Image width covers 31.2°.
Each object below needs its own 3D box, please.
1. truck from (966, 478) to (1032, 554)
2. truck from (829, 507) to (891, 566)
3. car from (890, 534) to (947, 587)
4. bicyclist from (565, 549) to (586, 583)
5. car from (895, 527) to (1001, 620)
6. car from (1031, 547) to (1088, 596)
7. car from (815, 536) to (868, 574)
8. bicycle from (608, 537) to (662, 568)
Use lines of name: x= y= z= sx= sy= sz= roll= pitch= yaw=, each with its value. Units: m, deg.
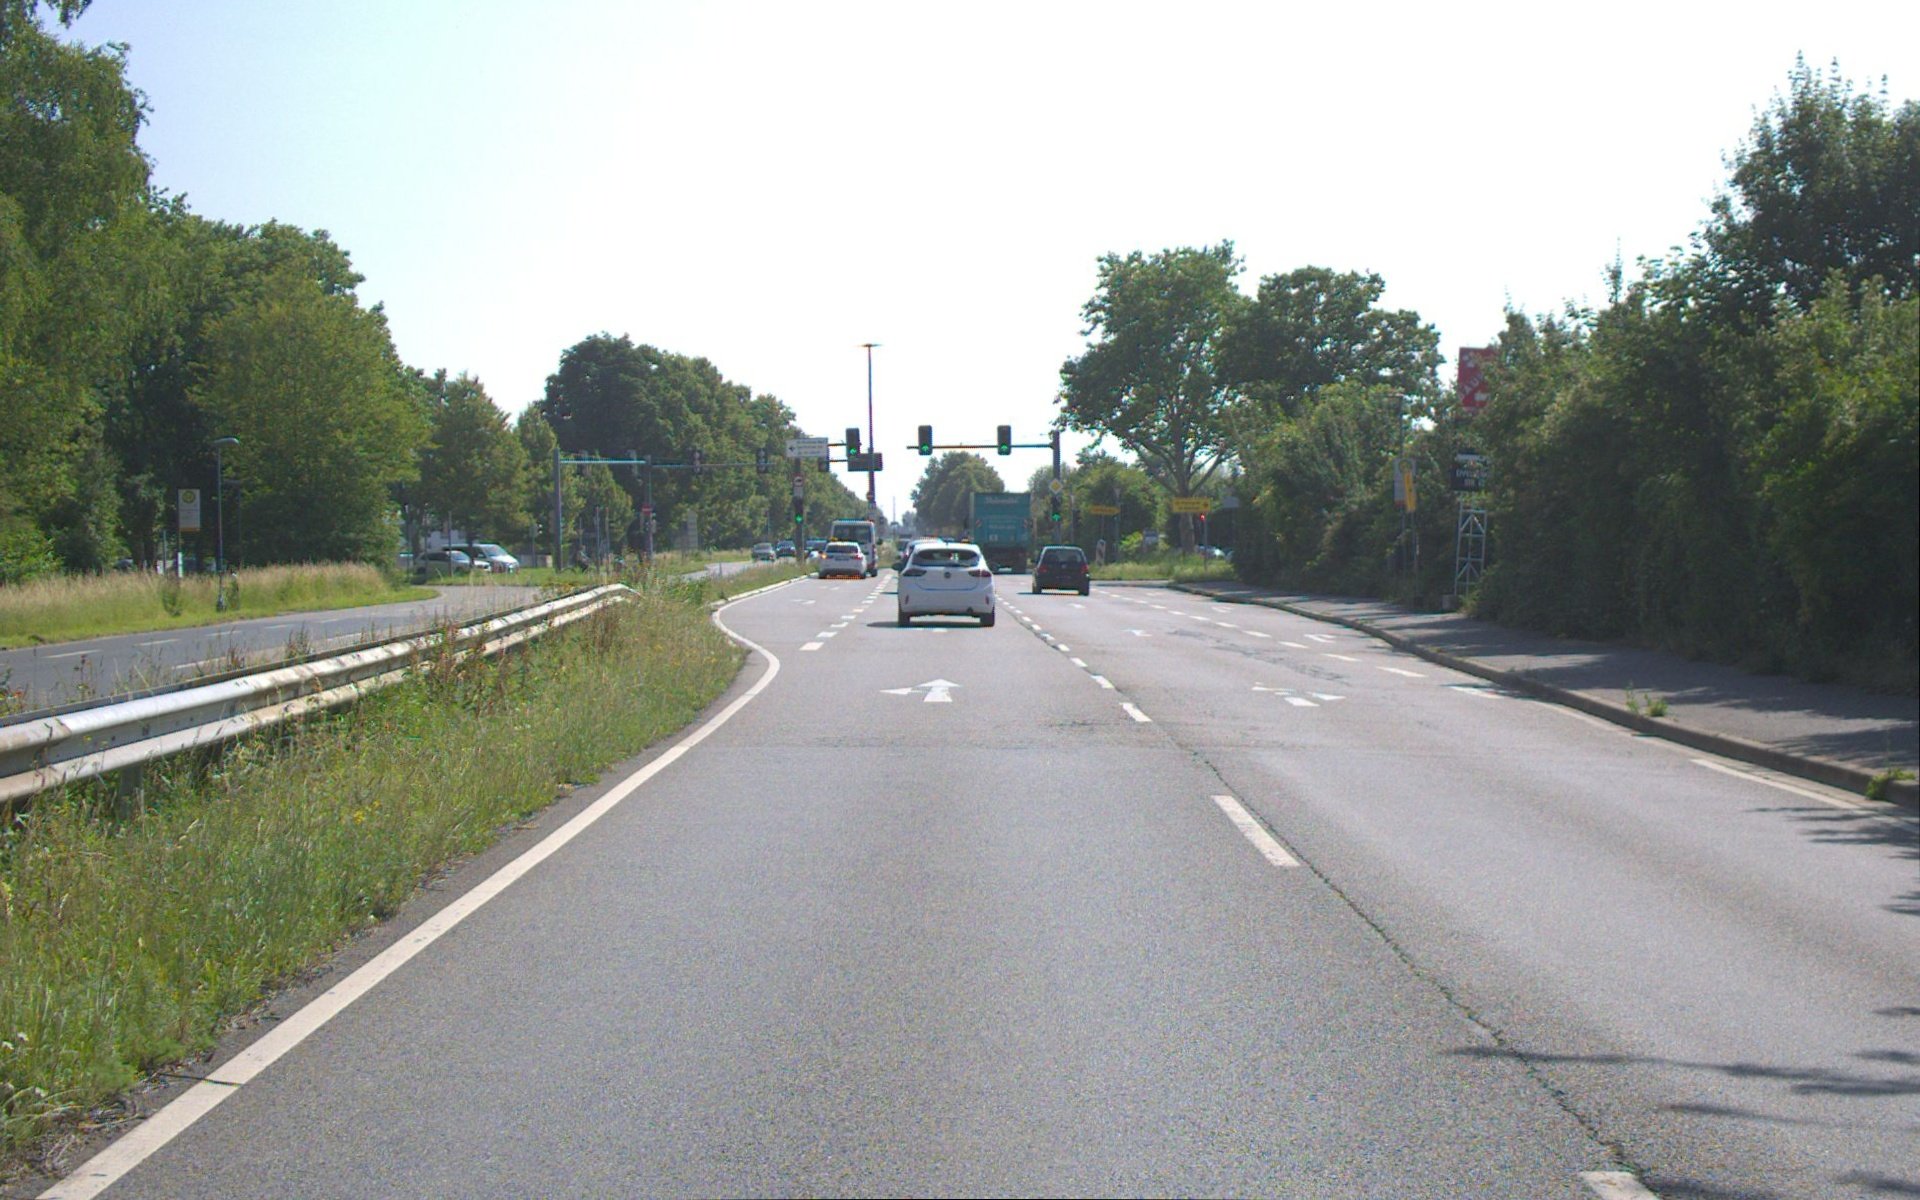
truck: x=1.773 y=-3.919 z=160.820 sx=2.891 sy=3.417 sz=9.170 roll=-1 pitch=1 yaw=0
truck: x=-4.188 y=-2.700 z=145.247 sx=2.373 sy=2.380 sz=6.041 roll=1 pitch=1 yaw=0
car: x=-1.180 y=-1.108 z=98.268 sx=1.572 sy=1.410 sz=3.277 roll=1 pitch=0 yaw=0
bicyclist: x=-17.643 y=-1.562 z=157.677 sx=0.847 sy=1.512 sz=0.747 roll=0 pitch=1 yaw=5
car: x=-0.194 y=-0.500 z=60.762 sx=1.799 sy=1.547 sz=4.000 roll=0 pitch=2 yaw=0
car: x=2.935 y=-0.840 z=101.734 sx=1.572 sy=1.410 sz=3.277 roll=0 pitch=0 yaw=0
car: x=-4.714 y=-1.805 z=137.181 sx=1.812 sy=1.459 sz=4.971 roll=1 pitch=1 yaw=2
bicycle: x=-17.806 y=-2.580 z=188.361 sx=2.796 sy=1.664 sz=1.134 roll=0 pitch=1 yaw=27
